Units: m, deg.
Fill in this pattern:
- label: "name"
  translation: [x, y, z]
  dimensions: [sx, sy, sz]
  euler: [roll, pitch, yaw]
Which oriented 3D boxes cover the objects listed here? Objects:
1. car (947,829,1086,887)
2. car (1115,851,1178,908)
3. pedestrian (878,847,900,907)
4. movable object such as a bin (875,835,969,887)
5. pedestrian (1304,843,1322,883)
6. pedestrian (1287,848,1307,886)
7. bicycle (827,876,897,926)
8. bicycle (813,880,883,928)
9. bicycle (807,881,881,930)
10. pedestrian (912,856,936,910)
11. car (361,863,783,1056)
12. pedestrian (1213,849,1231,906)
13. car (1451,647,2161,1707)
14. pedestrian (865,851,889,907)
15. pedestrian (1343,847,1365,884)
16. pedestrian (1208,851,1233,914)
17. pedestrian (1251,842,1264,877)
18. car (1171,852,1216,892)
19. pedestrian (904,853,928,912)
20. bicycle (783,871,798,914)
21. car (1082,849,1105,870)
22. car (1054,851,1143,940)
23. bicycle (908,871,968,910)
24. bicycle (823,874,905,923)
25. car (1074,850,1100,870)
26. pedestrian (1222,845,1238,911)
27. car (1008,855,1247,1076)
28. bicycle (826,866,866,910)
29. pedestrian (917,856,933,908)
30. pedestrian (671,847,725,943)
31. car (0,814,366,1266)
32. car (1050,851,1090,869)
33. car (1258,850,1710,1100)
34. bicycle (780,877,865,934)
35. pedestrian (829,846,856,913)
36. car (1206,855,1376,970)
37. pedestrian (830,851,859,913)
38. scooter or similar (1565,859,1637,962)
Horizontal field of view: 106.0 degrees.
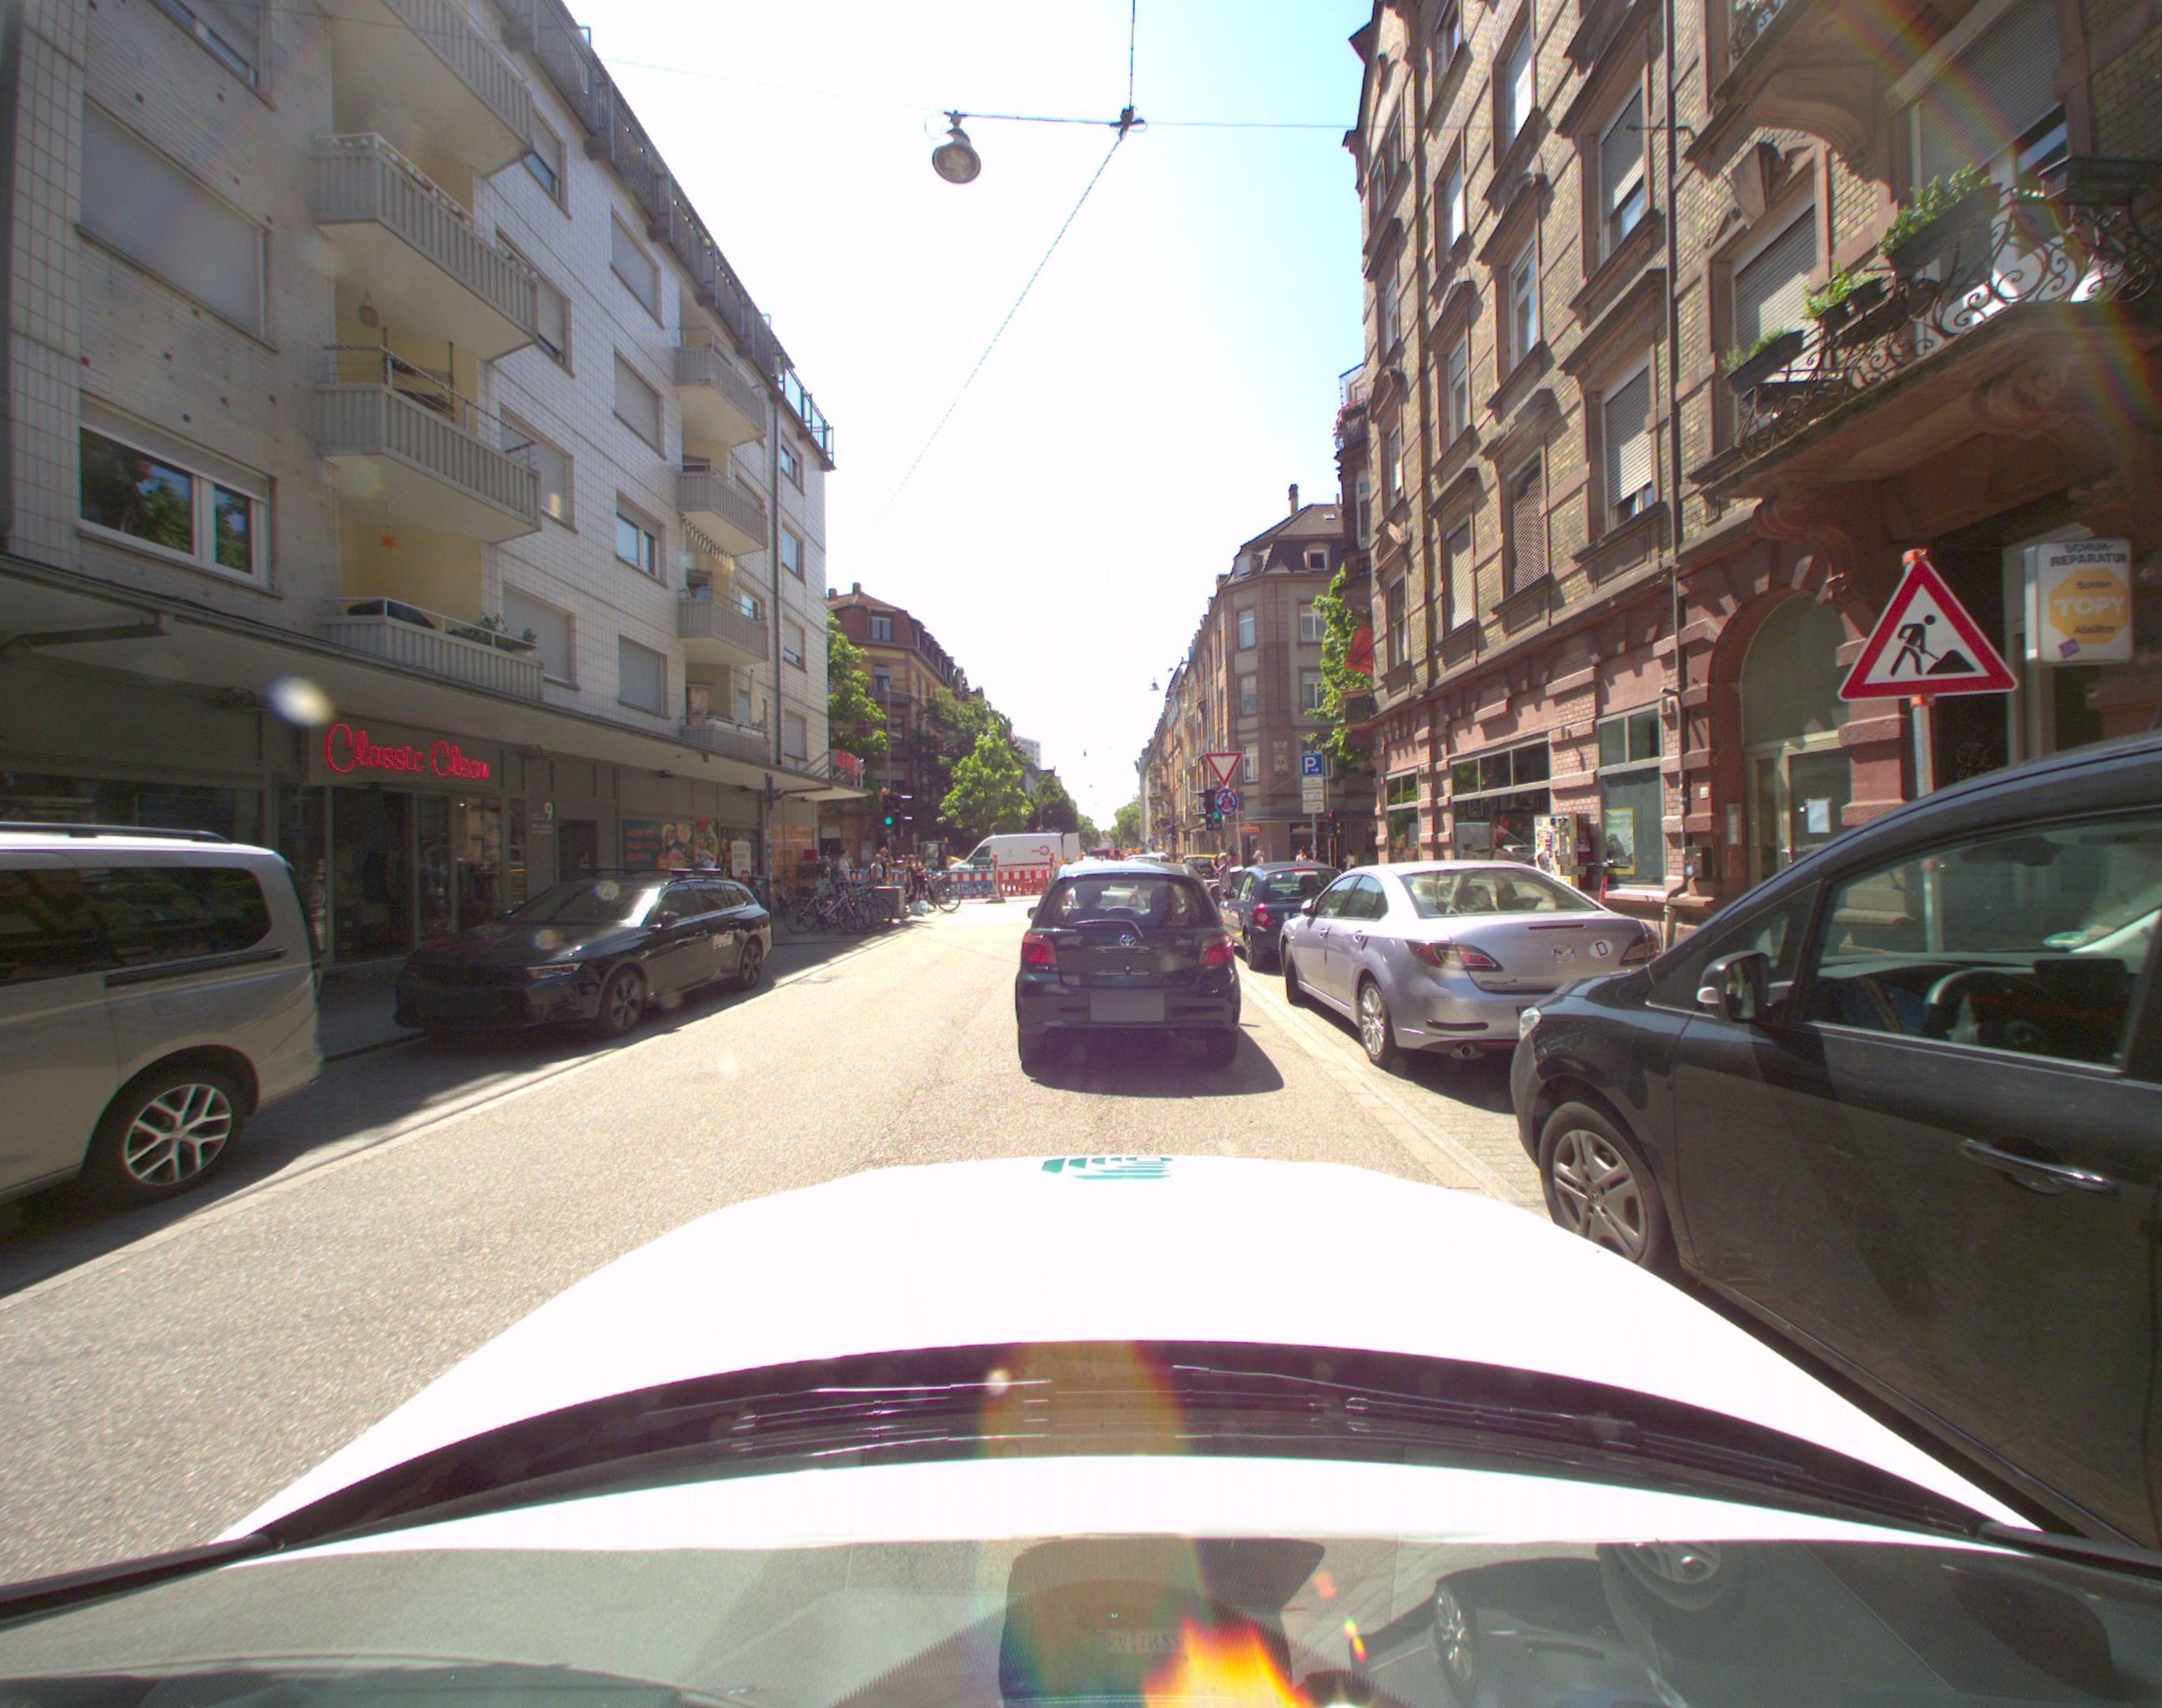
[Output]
- label: "car"
  translation: [-3.134, 0.209, 40.674]
  dimensions: [6.594, 2.751, 2.381]
  euler: [0, -1, 2]
- label: "car"
  translation: [2.043, 0.719, 24.855]
  dimensions: [1.512, 1.592, 3.274]
  euler: [-1, 0, 11]
- label: "pedestrian"
  translation: [-5.946, 0.713, 25.182]
  dimensions: [0.507, 1.820, 0.599]
  euler: [-1, -1, -1]
- label: "movable object such as a bin"
  translation: [-8.432, 0.353, 43.524]
  dimensions: [4.524, 2.659, 1.956]
  euler: [0, -1, 3]
- label: "pedestrian"
  translation: [10.644, 0.425, 37.396]
  dimensions: [0.574, 1.768, 0.470]
  euler: [-4, 3, -7]
- label: "pedestrian"
  translation: [9.863, 0.591, 37.233]
  dimensions: [0.701, 1.645, 0.422]
  euler: [-4, 3, -7]
- label: "bicycle"
  translation: [-5.098, 1.085, 19.010]
  dimensions: [1.515, 1.117, 0.335]
  euler: [1, -1, -3]
- label: "bicycle"
  translation: [-5.238, 1.124, 18.321]
  dimensions: [1.444, 1.036, 0.335]
  euler: [1, -1, -3]
- label: "bicycle"
  translation: [-5.190, 1.128, 17.865]
  dimensions: [1.490, 1.030, 0.397]
  euler: [1, -1, -3]
- label: "pedestrian"
  translation: [-4.650, 0.859, 24.174]
  dimensions: [0.491, 1.565, 0.462]
  euler: [1, 0, 28]
- label: "car"
  translation: [-5.002, 0.888, 8.916]
  dimensions: [1.663, 1.525, 4.466]
  euler: [0, 0, 2]
- label: "pedestrian"
  translation: [3.922, 0.656, 22.663]
  dimensions: [0.457, 1.560, 0.480]
  euler: [-1, -1, 8]
- label: "car"
  translation: [2.608, 0.528, 1.522]
  dimensions: [1.819, 1.767, 4.337]
  euler: [-2, 0, 0]
- label: "pedestrian"
  translation: [-6.008, 0.737, 24.019]
  dimensions: [0.507, 1.633, 0.599]
  euler: [-1, -1, -1]
- label: "pedestrian"
  translation: [12.211, 0.504, 36.452]
  dimensions: [0.797, 1.623, 0.644]
  euler: [-1, 0, 8]
- label: "pedestrian"
  translation: [3.457, 0.700, 20.193]
  dimensions: [0.490, 1.543, 0.437]
  euler: [-3, -1, 7]
- label: "pedestrian"
  translation: [8.713, 0.278, 40.133]
  dimensions: [0.473, 1.733, 0.876]
  euler: [-1, -2, 21]
- label: "car"
  translation: [4.498, 0.687, 32.418]
  dimensions: [1.618, 1.432, 3.669]
  euler: [-2, 0, 8]
- label: "pedestrian"
  translation: [-4.658, 0.809, 23.015]
  dimensions: [0.539, 1.633, 0.511]
  euler: [-1, -1, -1]
- label: "bicycle"
  translation: [-7.963, 1.043, 22.361]
  dimensions: [0.321, 1.086, 1.424]
  euler: [0, 1, -17]
- label: "car"
  translation: [1.126, 0.493, 70.258]
  dimensions: [1.748, 1.645, 4.379]
  euler: [-4, -1, 2]
- label: "car"
  translation: [0.354, 0.721, 15.814]
  dimensions: [1.517, 1.521, 3.265]
  euler: [-1, 0, 1]
- label: "bicycle"
  translation: [-4.293, 1.076, 24.401]
  dimensions: [1.789, 1.119, 0.470]
  euler: [0, 0, 23]
- label: "bicycle"
  translation: [-5.219, 1.071, 19.658]
  dimensions: [1.794, 1.123, 0.577]
  euler: [1, -1, -5]
- label: "car"
  translation: [0.500, 0.445, 60.664]
  dimensions: [1.748, 1.444, 4.002]
  euler: [-2, 0, 2]
- label: "pedestrian"
  translation: [3.840, 0.614, 21.007]
  dimensions: [0.330, 1.675, 0.402]
  euler: [-1, -1, 8]
- label: "car"
  translation: [0.420, 0.763, 7.146]
  dimensions: [1.606, 1.485, 3.244]
  euler: [0, 0, 4]
- label: "bicycle"
  translation: [-7.103, 0.998, 24.698]
  dimensions: [0.533, 1.247, 2.013]
  euler: [-1, 0, 2]
- label: "pedestrian"
  translation: [-4.871, 0.870, 25.457]
  dimensions: [0.388, 1.618, 0.475]
  euler: [-1, -1, -1]
- label: "pedestrian"
  translation: [-7.049, 0.740, 15.019]
  dimensions: [0.628, 1.727, 0.658]
  euler: [-1, -1, 3]
- label: "car"
  translation: [-5.218, 0.746, 2.583]
  dimensions: [1.783, 1.811, 4.697]
  euler: [0, 0, -1]
- label: "car"
  translation: [-1.419, 0.735, 102.517]
  dimensions: [4.581, 2.187, 1.983]
  euler: [-1, -1, -26]
- label: "car"
  translation: [2.916, 0.736, 7.149]
  dimensions: [1.720, 1.432, 4.485]
  euler: [-2, 0, 0]
- label: "bicycle"
  translation: [-5.378, 1.064, 16.983]
  dimensions: [1.580, 1.139, 0.526]
  euler: [1, -1, -3]
- label: "pedestrian"
  translation: [-6.460, 0.691, 22.065]
  dimensions: [0.507, 1.770, 0.599]
  euler: [-1, -1, -1]
- label: "car"
  translation: [3.028, 0.777, 12.472]
  dimensions: [1.622, 1.432, 3.660]
  euler: [-2, 0, 0]
- label: "pedestrian"
  translation: [-7.121, 0.830, 24.566]
  dimensions: [0.528, 1.797, 0.938]
  euler: [-1, 0, 2]
- label: "scooter or similar"
  translation: [6.380, 0.657, 10.039]
  dimensions: [0.290, 1.177, 1.276]
  euler: [-1, 0, 11]
